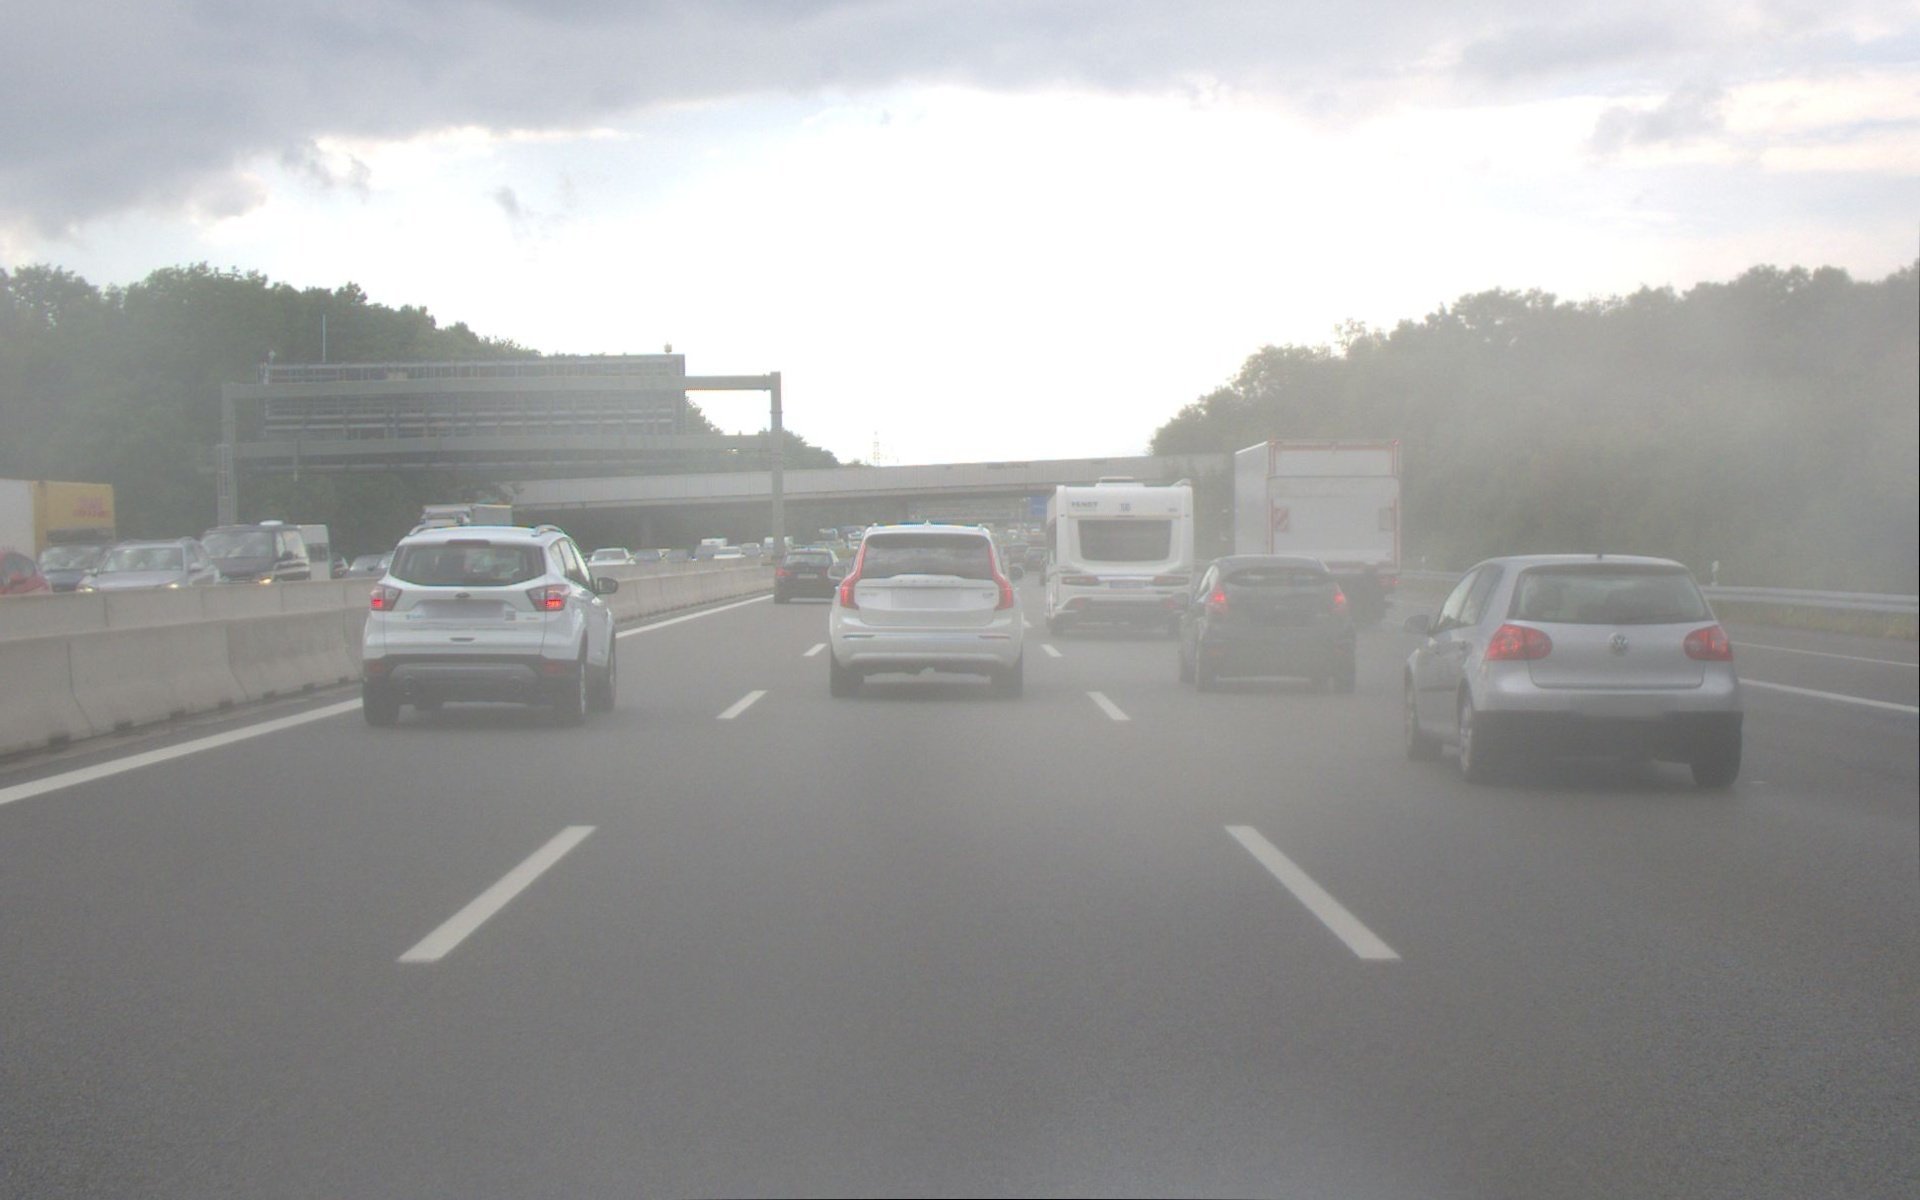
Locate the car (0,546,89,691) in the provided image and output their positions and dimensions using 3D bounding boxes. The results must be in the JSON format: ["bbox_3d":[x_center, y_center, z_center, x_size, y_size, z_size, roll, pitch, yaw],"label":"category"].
[{"bbox_3d":[-14.284,0.221,50.142,1.993,2.007,4.687,0,1,0],"label":"car"}]

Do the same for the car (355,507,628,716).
[{"bbox_3d":[-4.021,0.035,30.198,1.815,1.684,4.852,0,1,-1],"label":"car"}]

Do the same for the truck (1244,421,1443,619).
[{"bbox_3d":[7.560,-1.582,69.105,3.133,3.697,9.847,0,1,2],"label":"truck"}]

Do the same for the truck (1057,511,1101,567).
[{"bbox_3d":[8.144,-4.171,236.016,2.906,3.797,7.274,0,1,1],"label":"truck"}]

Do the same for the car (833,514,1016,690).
[{"bbox_3d":[-0.375,-0.016,35.770,1.781,1.710,4.353,0,1,-1],"label":"car"}]

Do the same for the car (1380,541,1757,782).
[{"bbox_3d":[3.985,0.342,23.146,1.795,1.472,4.038,0,1,0],"label":"car"}]

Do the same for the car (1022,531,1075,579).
[{"bbox_3d":[3.435,-1.754,133.971,2.043,1.817,4.904,0,1,1],"label":"car"}]

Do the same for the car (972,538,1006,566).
[{"bbox_3d":[1.752,-2.926,210.510,1.881,1.680,4.001,0,1,-2],"label":"car"}]

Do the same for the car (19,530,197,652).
[{"bbox_3d":[-14.615,-0.188,59.200,1.993,2.007,4.425,0,1,0],"label":"car"}]

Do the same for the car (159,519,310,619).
[{"bbox_3d":[-15.121,-0.676,71.973,1.993,2.007,5.758,0,1,-1],"label":"car"}]

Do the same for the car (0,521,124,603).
[{"bbox_3d":[-22.753,-0.977,87.131,1.993,2.007,5.348,0,1,-2],"label":"car"}]

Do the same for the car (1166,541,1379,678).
[{"bbox_3d":[3.360,0.065,37.694,1.885,1.402,4.283,0,1,-1],"label":"car"}]

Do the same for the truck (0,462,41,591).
[{"bbox_3d":[-28.081,-2.026,94.236,2.878,3.600,10.312,0,1,1],"label":"truck"}]

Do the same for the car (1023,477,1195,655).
[{"bbox_3d":[2.504,-0.621,59.871,2.567,2.885,7.534,0,1,-1],"label":"car"}]

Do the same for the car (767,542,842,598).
[{"bbox_3d":[-4.175,-0.827,93.019,1.781,1.476,4.353,0,1,1],"label":"car"}]
